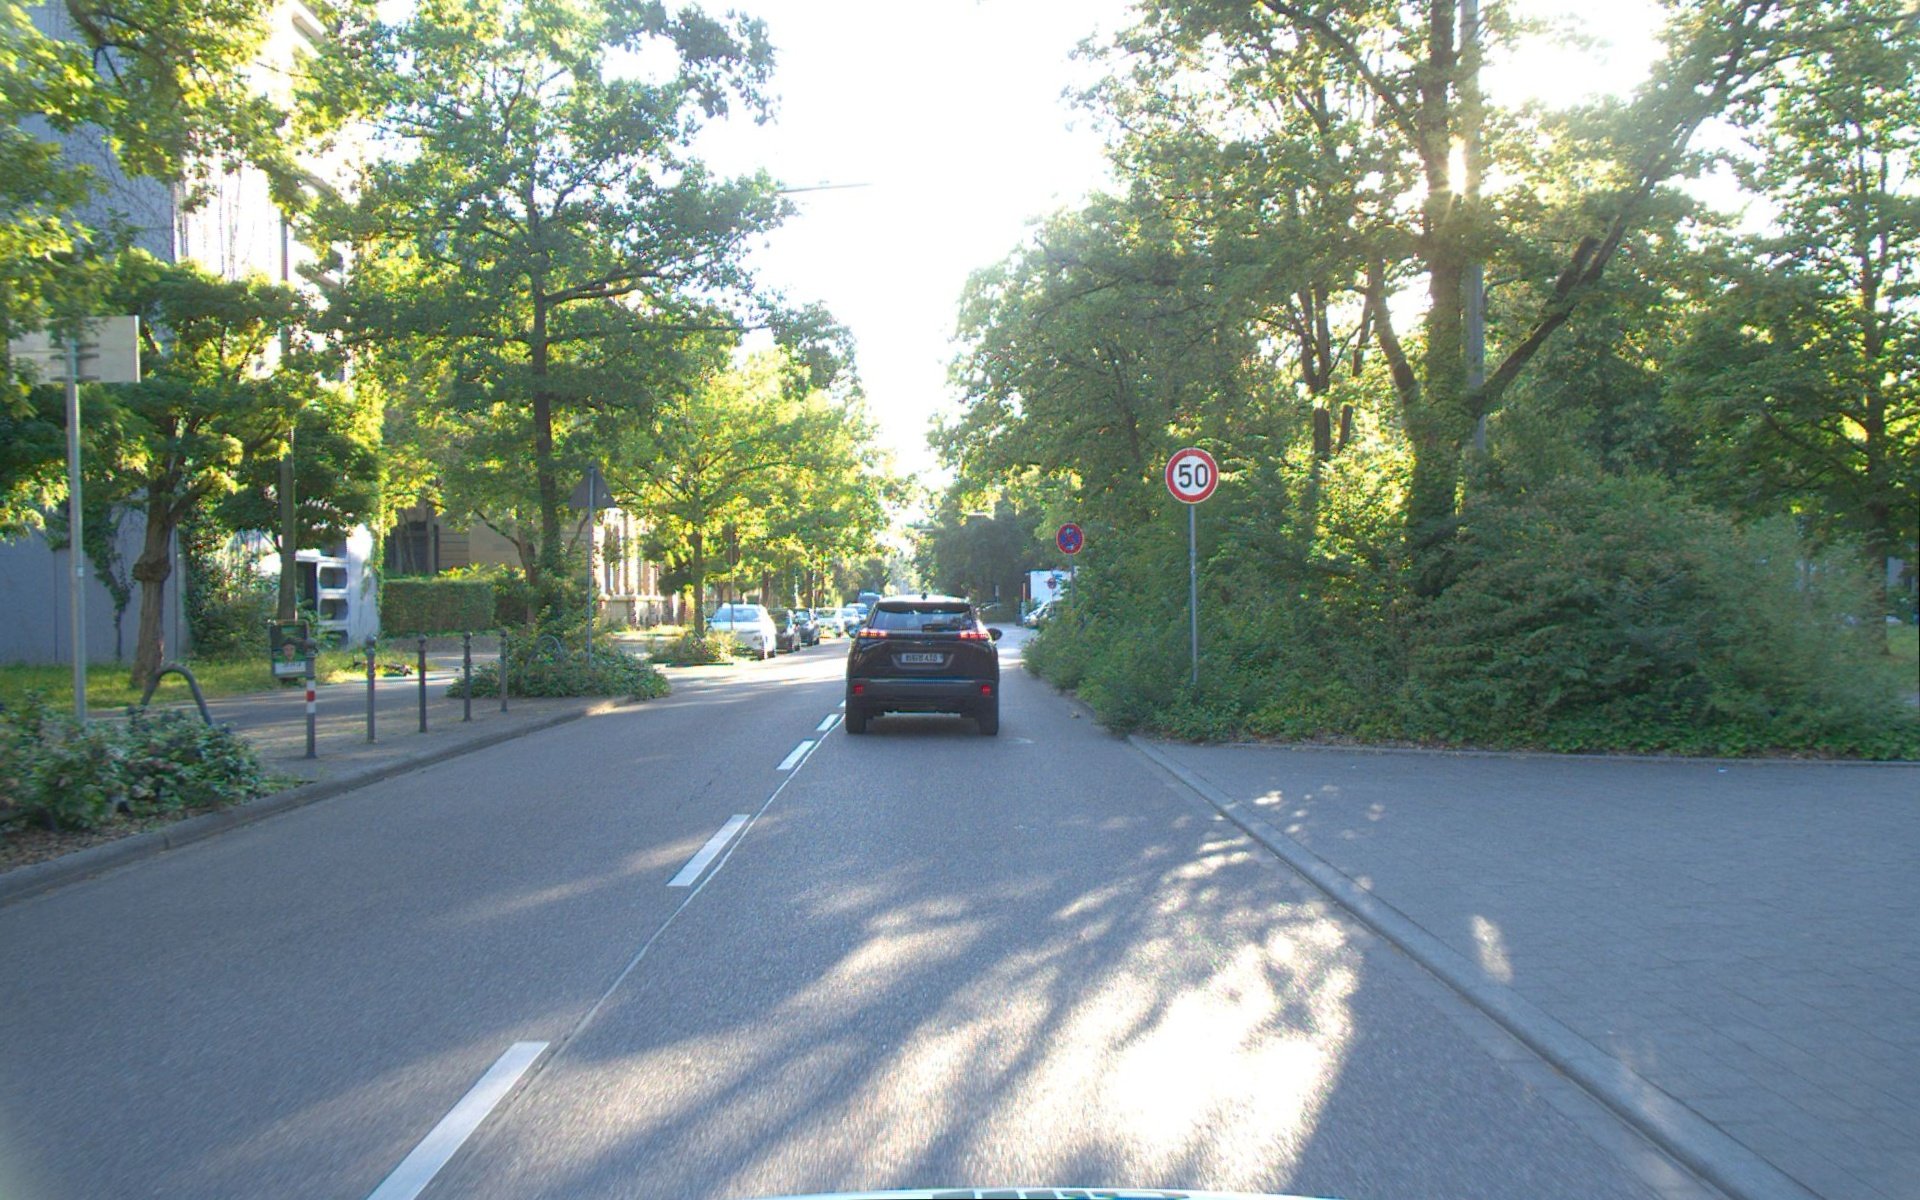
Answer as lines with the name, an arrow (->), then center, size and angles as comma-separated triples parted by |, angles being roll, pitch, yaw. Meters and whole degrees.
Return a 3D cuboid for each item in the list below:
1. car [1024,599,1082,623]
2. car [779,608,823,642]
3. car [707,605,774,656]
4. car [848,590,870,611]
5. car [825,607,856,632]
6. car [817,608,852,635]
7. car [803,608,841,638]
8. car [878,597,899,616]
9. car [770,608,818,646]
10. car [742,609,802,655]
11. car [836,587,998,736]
car -> 6.603, 0.755, 117.953 | 3.909, 1.610, 1.814 | -1, 0, -5
car -> -6.860, 1.055, 71.588 | 1.775, 1.378, 3.996 | -1, 0, -5
car -> -6.351, 0.845, 48.115 | 1.775, 1.378, 3.995 | -1, 0, -6
car -> -9.340, 0.066, 152.900 | 1.868, 1.900, 3.948 | -1, 0, -1
car -> -7.111, 1.144, 98.244 | 1.775, 1.378, 3.996 | -1, 0, -5
car -> -6.698, 1.126, 88.193 | 1.775, 1.378, 3.975 | -1, 0, -5
car -> -6.720, 1.096, 80.833 | 1.775, 1.378, 3.996 | -1, 0, -5
car -> -7.459, 0.650, 173.495 | 1.868, 1.900, 3.949 | 3, 0, 1
car -> -6.556, 1.047, 65.684 | 1.775, 1.378, 3.996 | -1, 0, -5
car -> -6.138, 1.025, 54.363 | 1.775, 1.378, 3.996 | -1, 0, -5
car -> -0.498, 0.655, 19.507 | 1.732, 1.596, 3.379 | 0, 0, -1
